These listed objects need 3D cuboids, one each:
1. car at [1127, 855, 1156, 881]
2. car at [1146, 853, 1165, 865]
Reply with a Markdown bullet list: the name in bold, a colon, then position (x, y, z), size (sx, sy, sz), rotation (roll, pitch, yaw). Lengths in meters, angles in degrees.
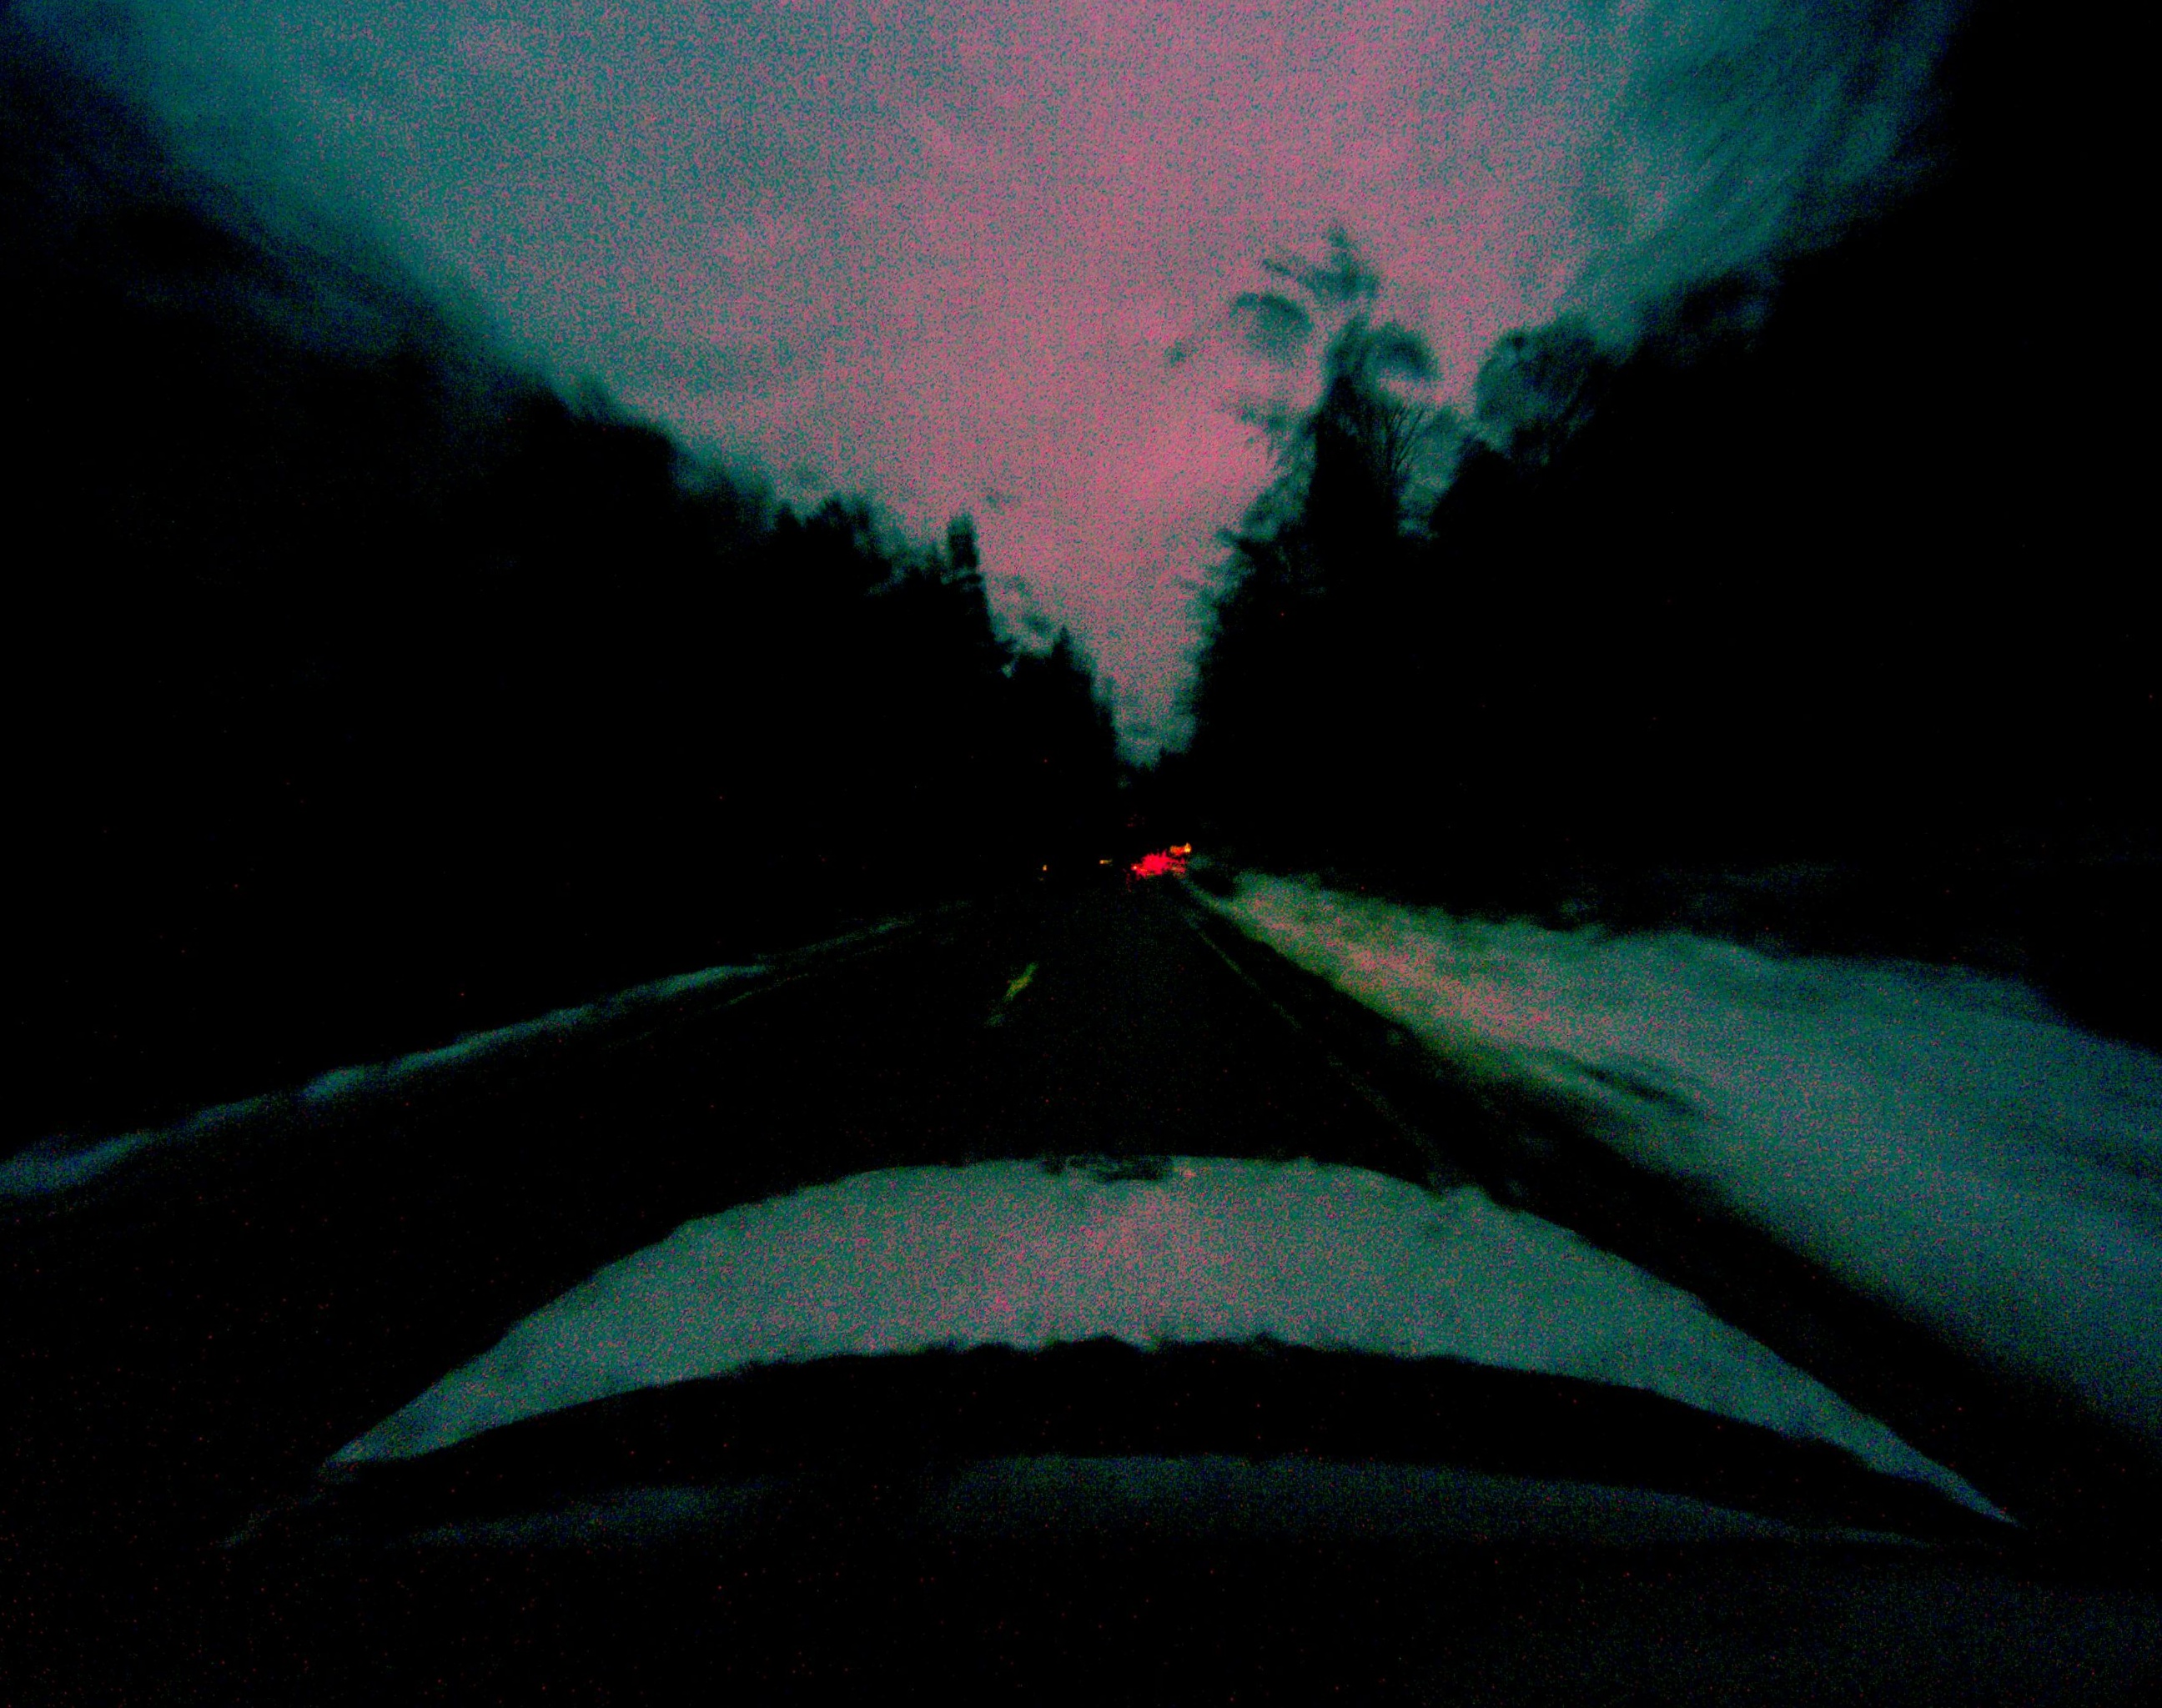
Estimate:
- **car**: position (4.836, 1.079, 64.173), size (1.983, 1.872, 4.008), rotation (-4, 0, 7)
- **car**: position (9.221, 0.655, 100.881), size (1.987, 1.310, 3.999), rotation (-4, 0, 0)
